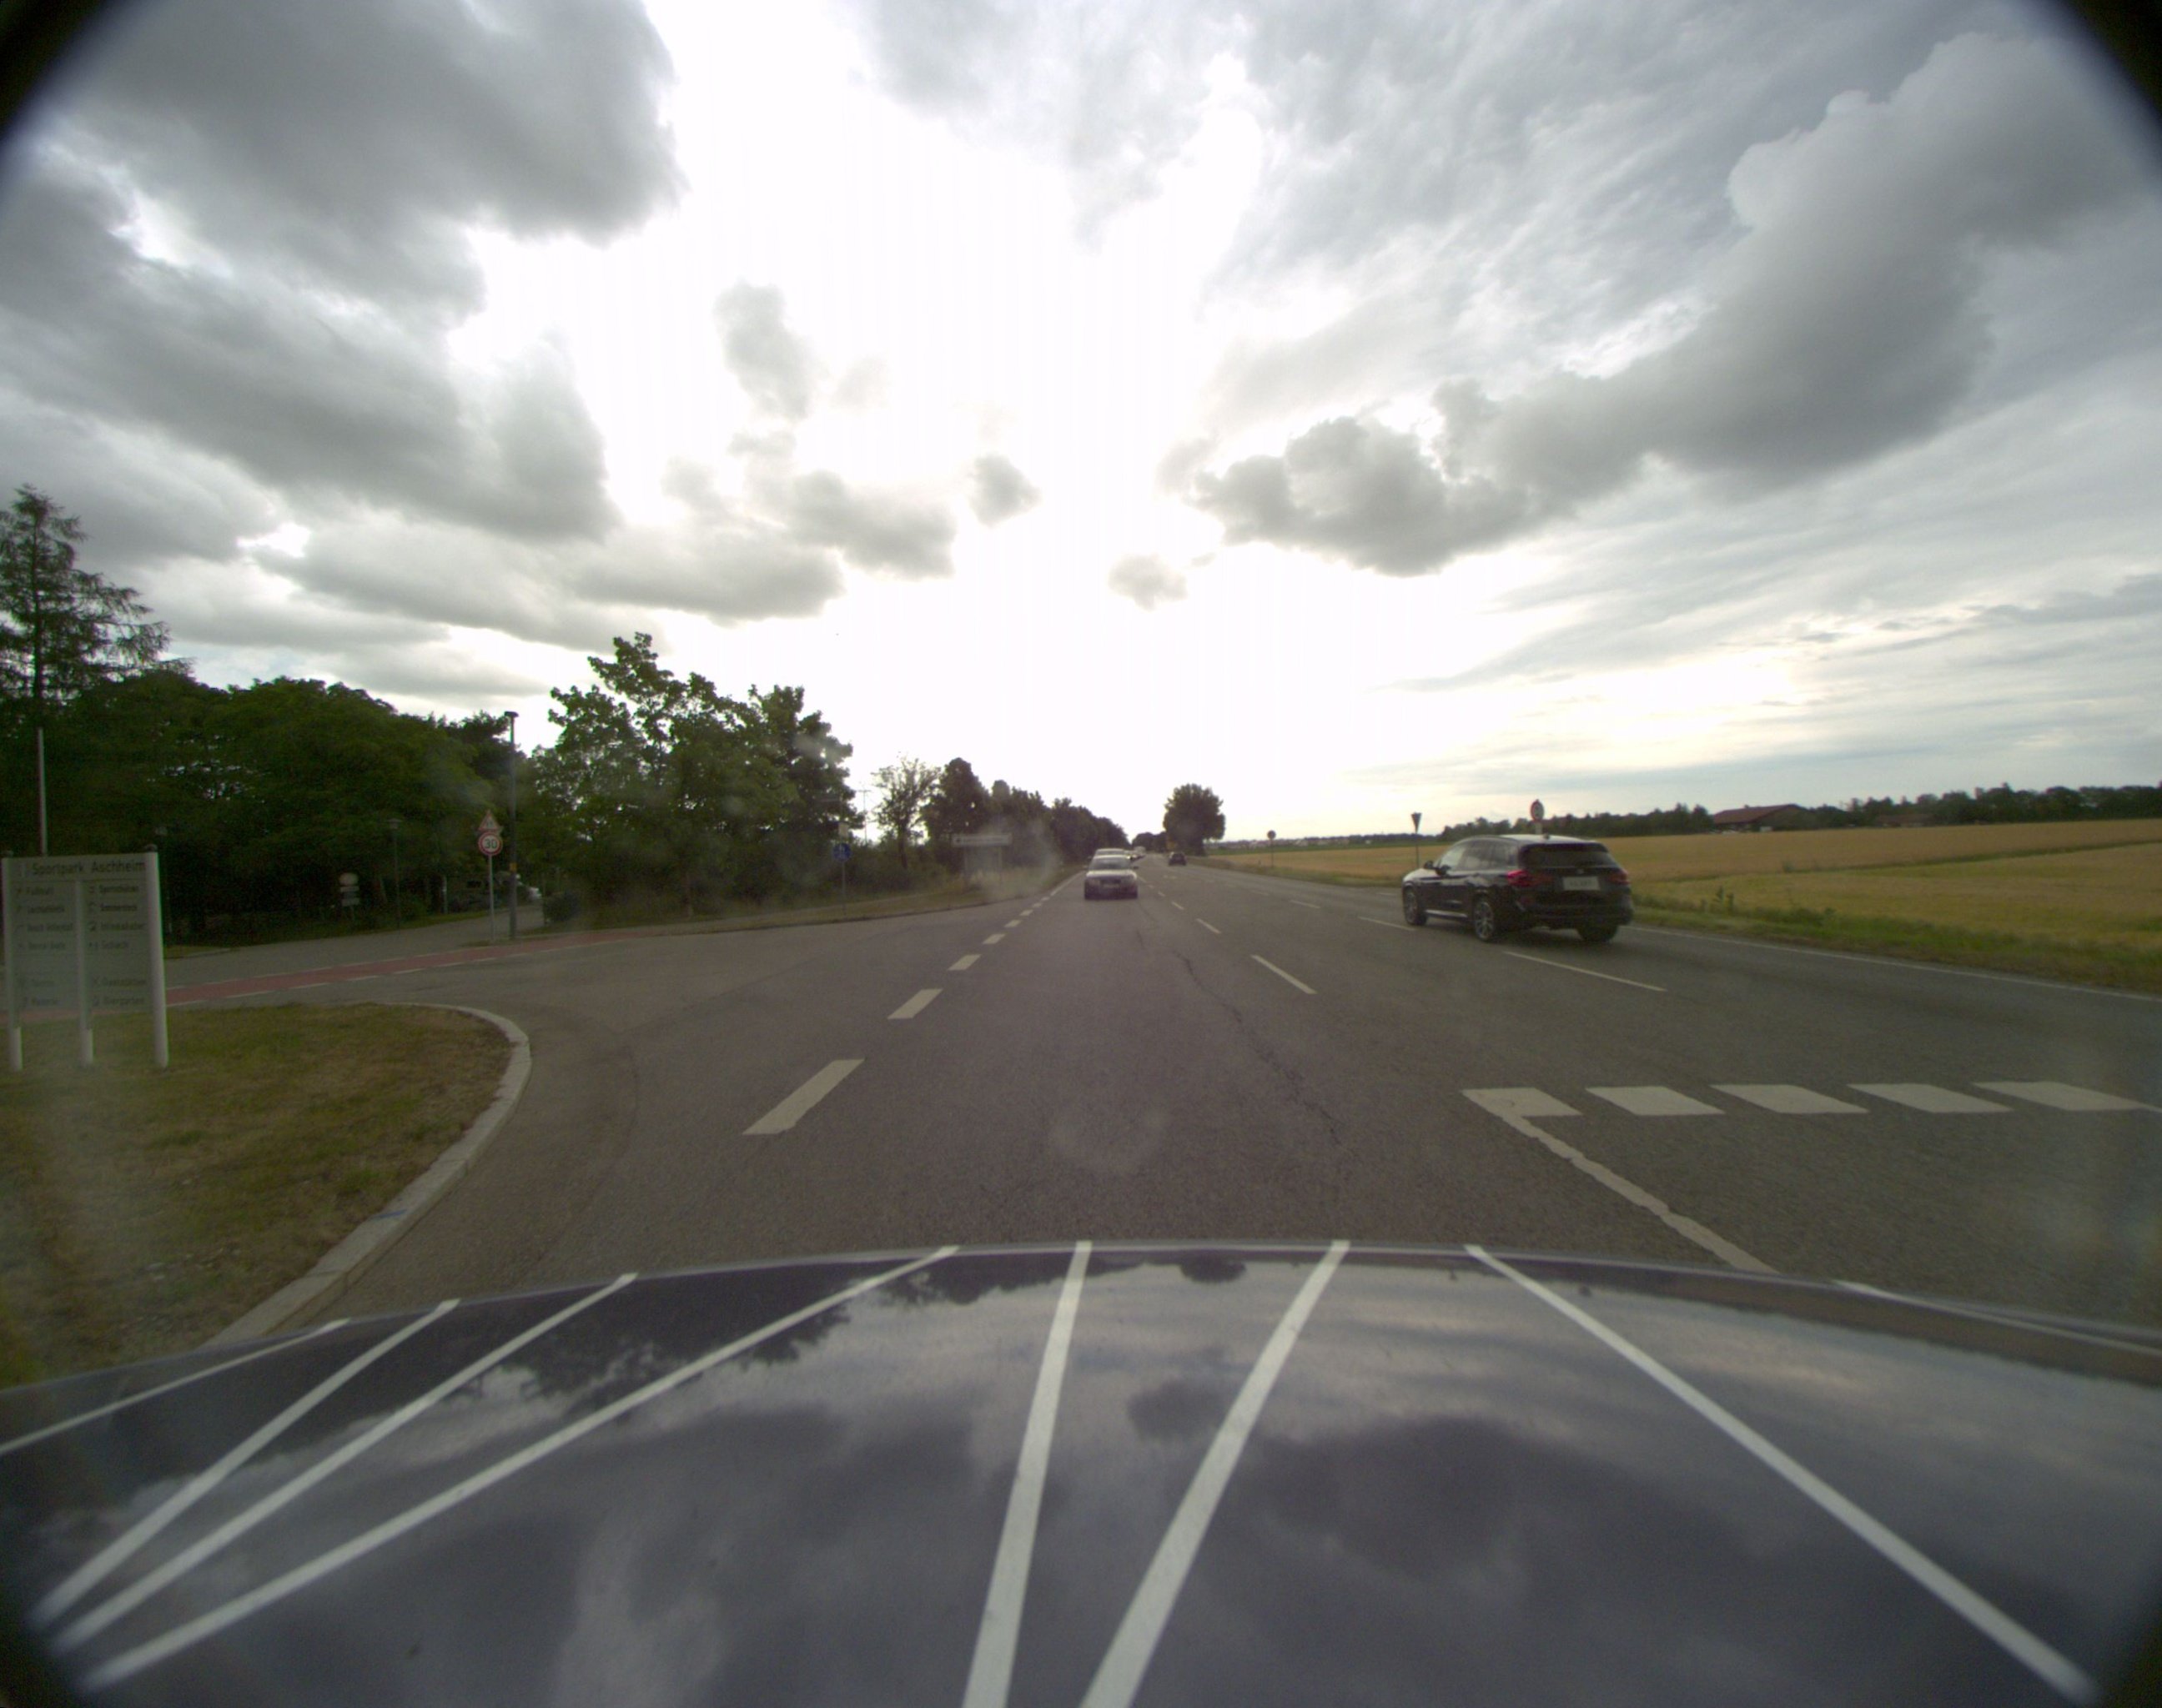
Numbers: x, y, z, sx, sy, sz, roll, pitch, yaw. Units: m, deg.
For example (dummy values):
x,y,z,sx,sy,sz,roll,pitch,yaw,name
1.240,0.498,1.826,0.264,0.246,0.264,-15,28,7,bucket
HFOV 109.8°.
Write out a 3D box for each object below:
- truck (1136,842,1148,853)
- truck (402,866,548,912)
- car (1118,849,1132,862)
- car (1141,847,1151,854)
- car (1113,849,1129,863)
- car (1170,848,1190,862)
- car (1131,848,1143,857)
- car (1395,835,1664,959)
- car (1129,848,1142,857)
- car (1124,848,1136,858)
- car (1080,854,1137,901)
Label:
x,y,z,sx,sy,sz,roll,pitch,yaw,name
15.173,-1.577,189.339,2.320,2.749,7.672,-2,1,1,truck
-47.200,2.622,59.551,8.383,3.092,3.067,-2,1,-26,truck
5.676,0.222,98.189,1.793,1.573,4.188,-1,0,4,car
14.724,-0.880,171.341,1.792,1.531,4.139,-1,0,9,car
4.764,0.226,89.348,1.793,1.573,4.368,-1,0,4,car
10.524,0.097,80.977,1.998,1.501,4.001,0,1,5,car
9.905,-0.274,133.699,1.793,1.573,4.139,-1,0,8,car
7.122,0.583,12.728,1.952,1.684,4.446,-1,0,2,car
10.048,-0.242,138.860,1.953,1.573,4.139,-1,0,10,car
7.916,-0.131,122.974,1.793,1.573,4.138,-1,0,5,car
0.965,0.746,26.210,1.793,1.415,4.368,-1,0,2,car
